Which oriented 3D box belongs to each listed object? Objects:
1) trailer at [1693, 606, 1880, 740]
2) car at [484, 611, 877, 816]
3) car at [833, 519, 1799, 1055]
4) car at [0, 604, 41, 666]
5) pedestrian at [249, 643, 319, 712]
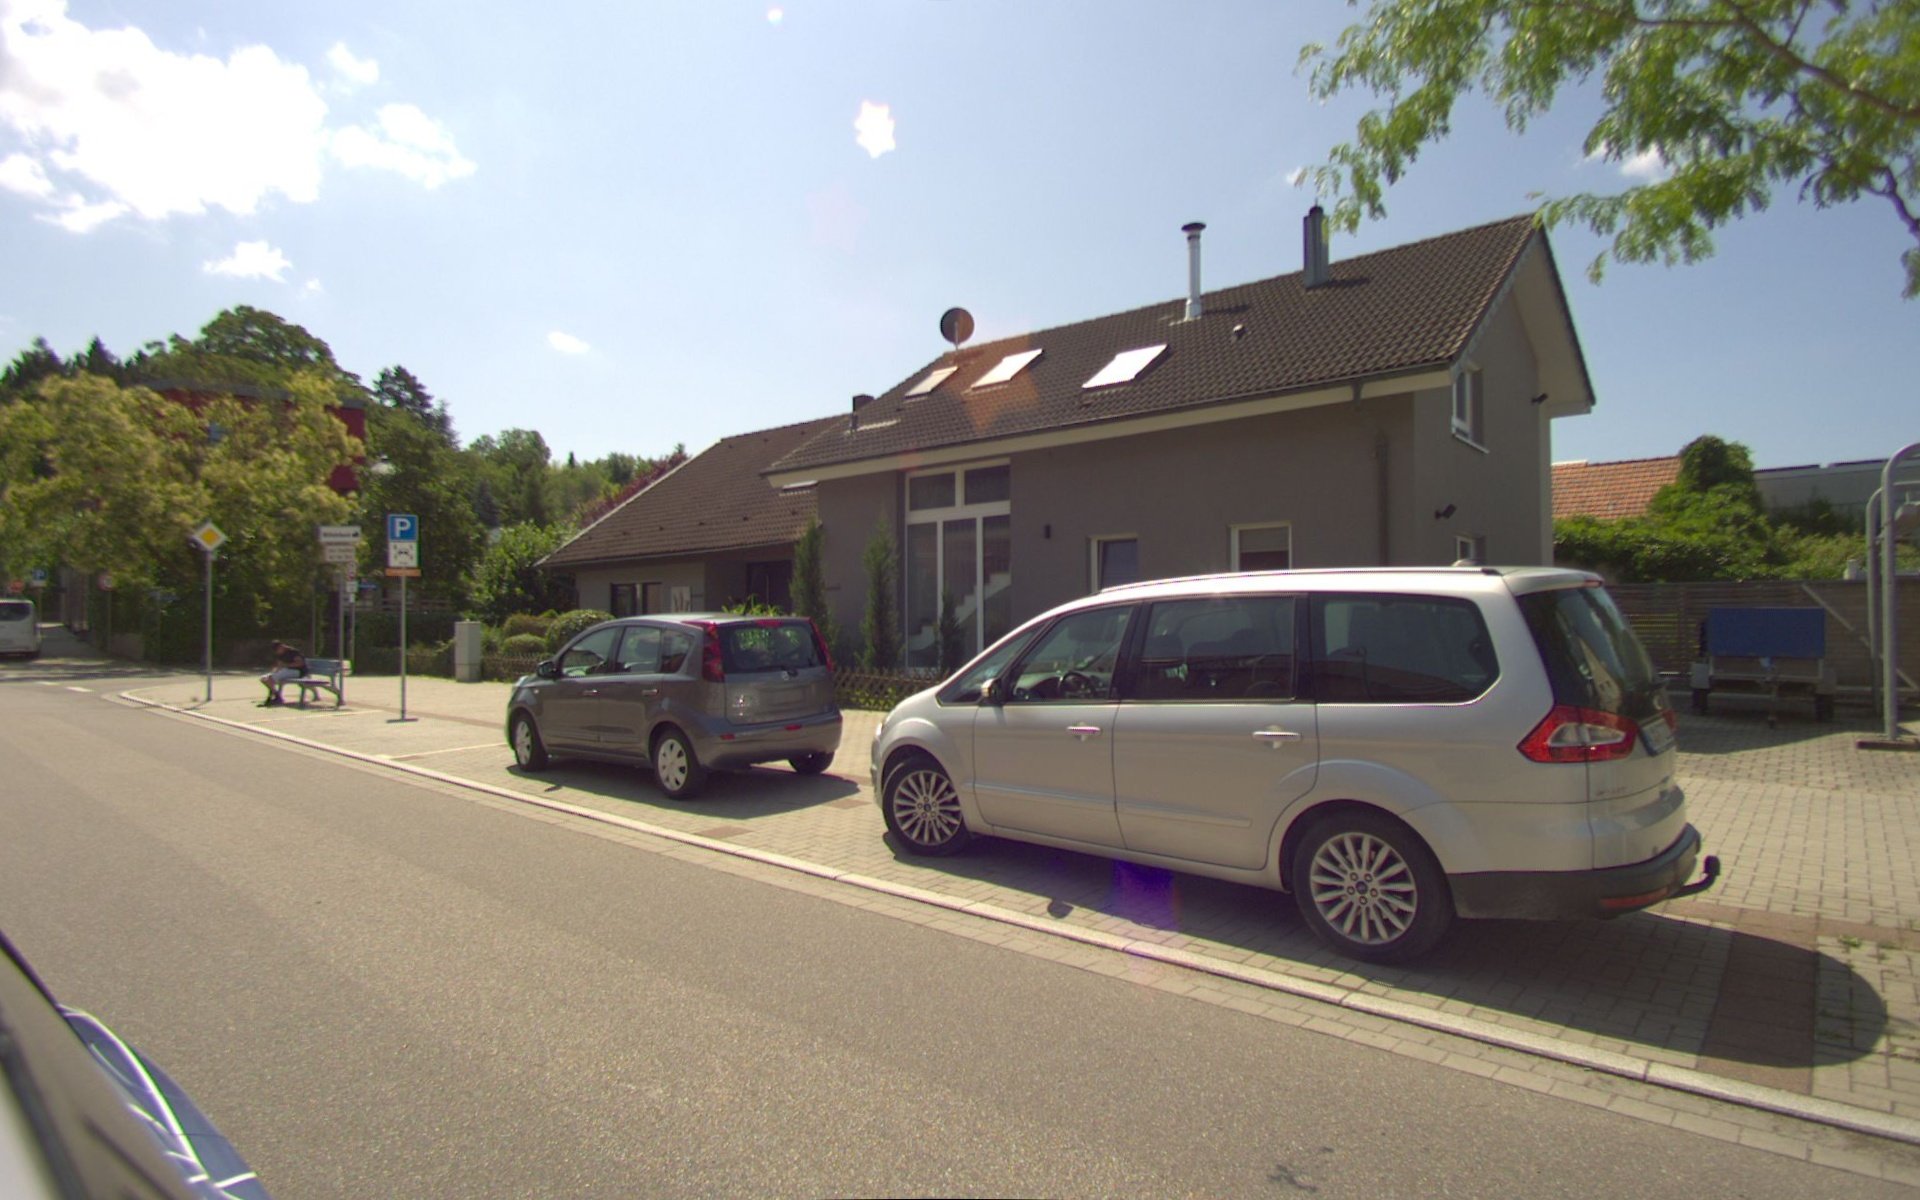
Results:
[{"bbox_3d":[10.310,0.807,12.840,1.582,1.399,3.600,-1,0,36],"label":"trailer"},{"bbox_3d":[-2.789,0.946,9.656,3.906,1.536,1.705,-3,-1,41],"label":"car"},{"bbox_3d":[1.515,0.689,5.615,4.686,1.761,1.819,-3,-2,43],"label":"car"},{"bbox_3d":[-32.499,1.154,33.970,3.998,1.995,1.973,-1,-2,41],"label":"car"},{"bbox_3d":[-12.139,1.377,18.175,0.884,1.150,0.806,-1,0,38],"label":"pedestrian"}]
